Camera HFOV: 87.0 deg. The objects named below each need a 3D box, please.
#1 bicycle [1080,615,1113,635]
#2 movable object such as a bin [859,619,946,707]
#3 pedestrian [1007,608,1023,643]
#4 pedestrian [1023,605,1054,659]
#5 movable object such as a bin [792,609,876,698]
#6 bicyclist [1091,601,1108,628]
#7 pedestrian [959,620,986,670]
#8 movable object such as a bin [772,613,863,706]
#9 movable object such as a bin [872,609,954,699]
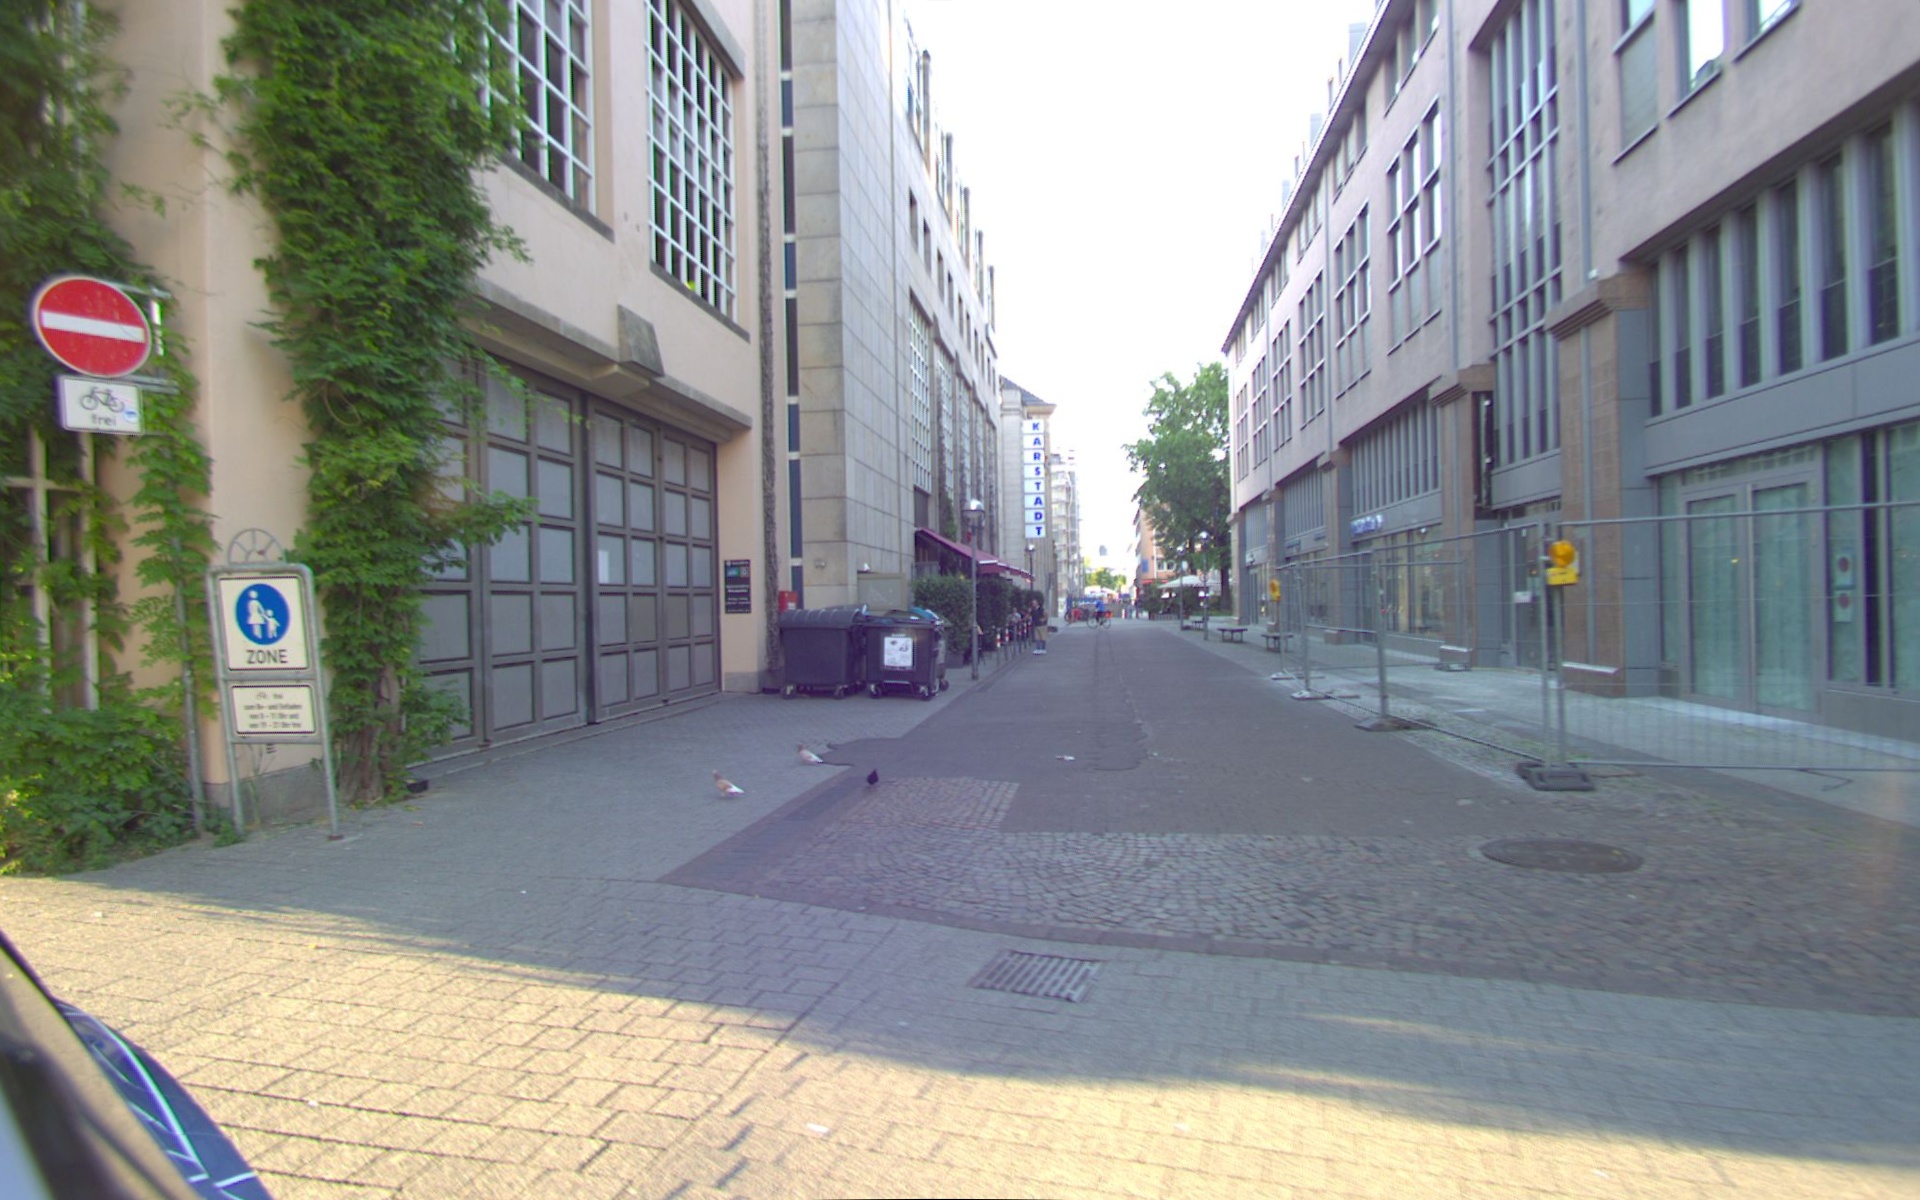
[{"bbox_3d":[7.249,1.328,53.721,0.535,1.059,1.954,0,-1,-34],"label":"bicycle"},{"bbox_3d":[-0.927,1.005,16.627,1.217,1.340,1.166,2,-1,6],"label":"movable object such as a bin"},{"bbox_3d":[2.226,1.033,40.967,0.582,1.419,0.631,-1,-1,7],"label":"pedestrian"},{"bbox_3d":[2.398,0.972,30.900,0.694,1.599,0.714,-1,-1,28],"label":"pedestrian"},{"bbox_3d":[-2.179,0.904,17.678,1.217,1.499,1.166,0,-1,6],"label":"movable object such as a bin"},{"bbox_3d":[7.389,0.756,53.559,0.579,1.419,0.634,0,-1,-35],"label":"bicyclist"},{"bbox_3d":[0.316,1.118,25.329,0.582,1.210,0.631,-1,-1,7],"label":"pedestrian"},{"bbox_3d":[-2.297,0.932,16.430,1.217,1.448,1.166,0,-1,6],"label":"movable object such as a bin"},{"bbox_3d":[-0.806,0.928,17.900,1.262,1.478,1.166,2,-1,6],"label":"movable object such as a bin"}]
